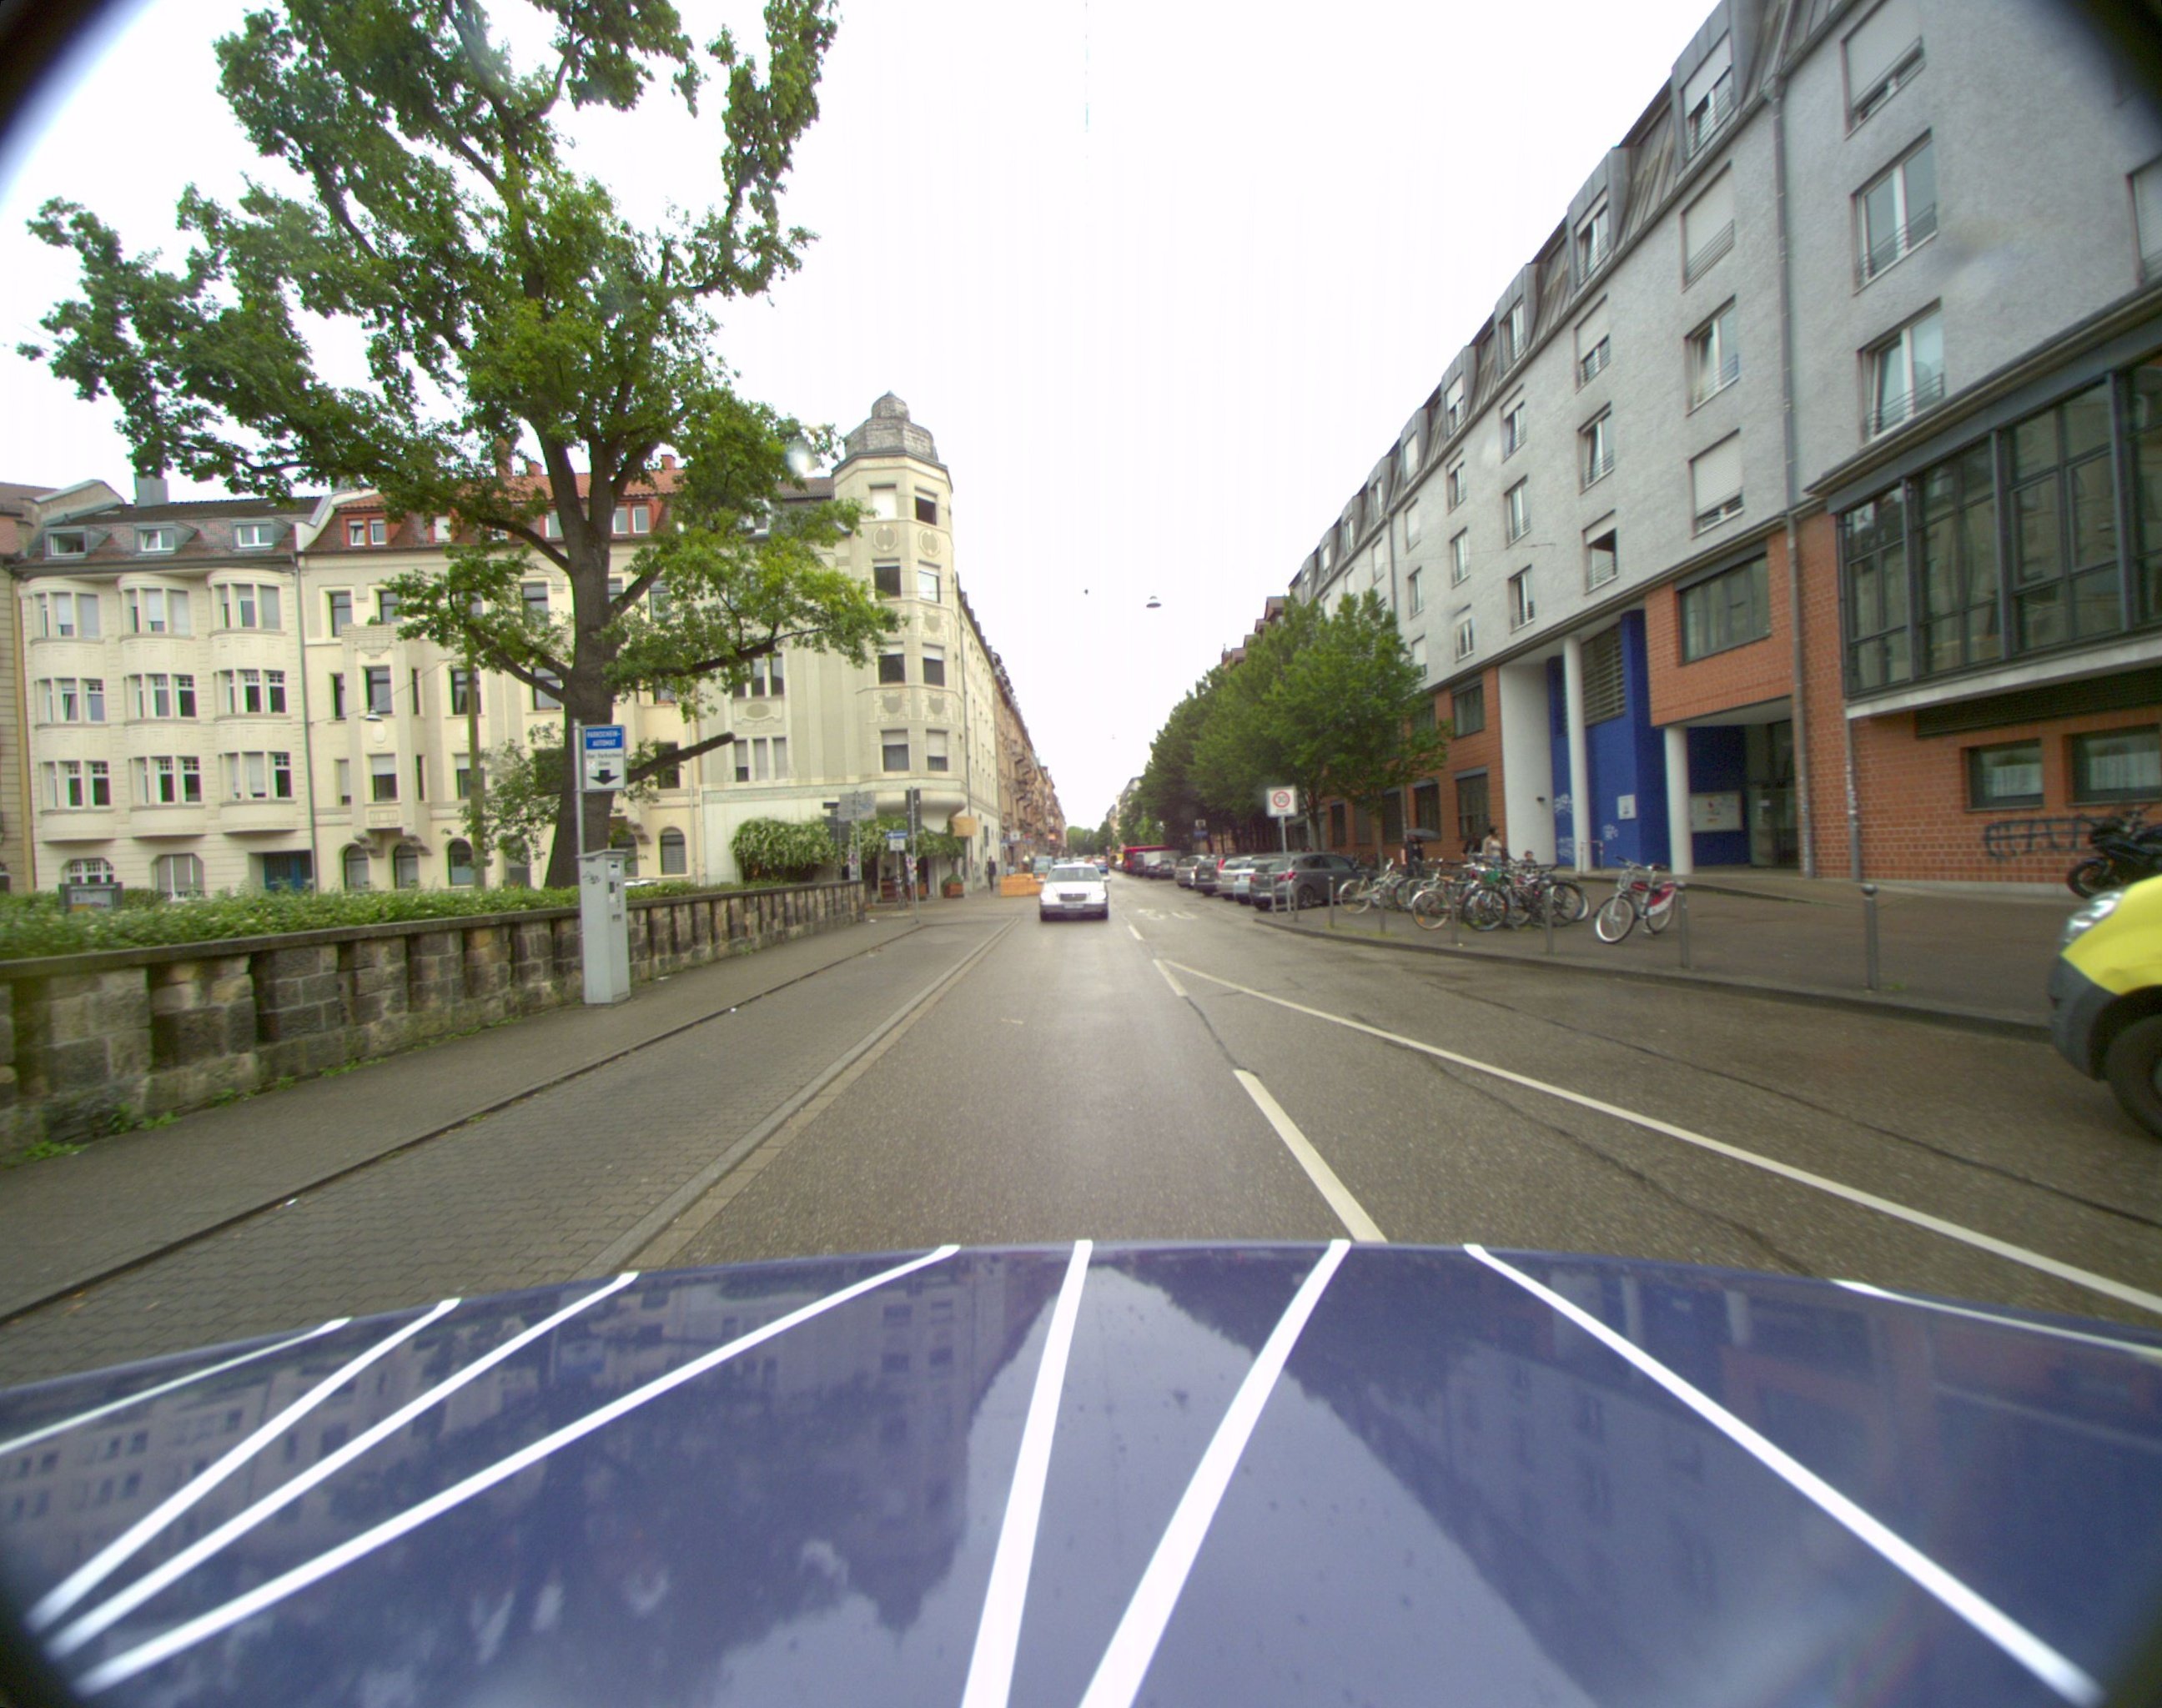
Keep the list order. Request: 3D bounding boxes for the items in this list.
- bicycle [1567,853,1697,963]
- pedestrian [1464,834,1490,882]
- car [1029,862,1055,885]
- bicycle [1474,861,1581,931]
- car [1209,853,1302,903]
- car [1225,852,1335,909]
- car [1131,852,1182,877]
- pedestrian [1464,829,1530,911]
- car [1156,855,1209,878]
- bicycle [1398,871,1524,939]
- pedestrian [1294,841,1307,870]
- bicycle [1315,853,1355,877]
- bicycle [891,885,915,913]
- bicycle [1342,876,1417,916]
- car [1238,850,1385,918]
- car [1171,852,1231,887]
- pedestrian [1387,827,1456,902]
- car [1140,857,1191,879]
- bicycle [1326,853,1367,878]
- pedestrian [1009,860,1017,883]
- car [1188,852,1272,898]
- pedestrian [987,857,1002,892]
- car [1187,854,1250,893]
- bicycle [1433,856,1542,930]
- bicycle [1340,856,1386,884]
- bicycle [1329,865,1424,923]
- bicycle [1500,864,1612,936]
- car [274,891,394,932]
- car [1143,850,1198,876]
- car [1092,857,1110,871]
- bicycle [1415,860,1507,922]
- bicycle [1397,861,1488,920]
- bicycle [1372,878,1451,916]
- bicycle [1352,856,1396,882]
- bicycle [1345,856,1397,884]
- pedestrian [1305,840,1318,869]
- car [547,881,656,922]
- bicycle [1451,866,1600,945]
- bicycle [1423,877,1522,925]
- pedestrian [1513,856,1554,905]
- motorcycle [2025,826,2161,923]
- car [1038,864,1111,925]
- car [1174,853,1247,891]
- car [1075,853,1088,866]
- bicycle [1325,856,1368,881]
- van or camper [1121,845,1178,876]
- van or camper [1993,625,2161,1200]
[{"bbox_3d":[7.486,0.680,10.291,1.922,1.209,0.768,-6,3,-34],"label":"bicycle"},{"bbox_3d":[12.846,0.122,24.641,0.515,1.521,0.548,-2,0,-2],"label":"pedestrian"},{"bbox_3d":[-2.437,1.218,48.166,1.447,1.348,3.204,-2,0,1],"label":"car"},{"bbox_3d":[7.656,0.724,13.082,1.461,1.096,0.462,-4,1,15],"label":"bicycle"},{"bbox_3d":[6.005,0.807,26.019,3.084,1.494,1.449,-3,0,-39],"label":"car"},{"bbox_3d":[6.151,0.786,23.407,3.083,1.494,1.449,-3,0,-30],"label":"car"},{"bbox_3d":[6.199,0.845,62.105,4.338,1.822,1.572,-2,0,-40],"label":"car"},{"bbox_3d":[9.311,0.356,17.046,0.827,1.697,0.859,-7,0,2],"label":"pedestrian"},{"bbox_3d":[6.965,0.836,51.828,1.685,1.481,3.799,-2,0,41],"label":"car"},{"bbox_3d":[6.307,0.837,12.663,1.800,0.987,0.520,-4,1,-1],"label":"bicycle"},{"bbox_3d":[12.390,0.087,42.890,0.605,1.601,0.372,-2,0,0],"label":"pedestrian"},{"bbox_3d":[11.080,0.467,33.151,1.590,0.978,0.465,-2,0,-7],"label":"bicycle"},{"bbox_3d":[-6.843,1.722,29.310,0.390,0.888,2.023,-2,2,1],"label":"bicycle"},{"bbox_3d":[6.829,0.961,17.419,1.473,0.800,0.497,-4,1,4],"label":"bicycle"},{"bbox_3d":[6.227,0.757,20.478,3.628,1.494,1.736,-3,1,-30],"label":"car"},{"bbox_3d":[5.925,0.775,37.406,2.685,1.546,1.148,-3,0,-28],"label":"car"},{"bbox_3d":[9.380,0.285,21.002,1.228,1.870,1.055,-7,0,0],"label":"pedestrian"},{"bbox_3d":[6.072,0.995,54.360,1.685,1.481,3.799,-2,0,41],"label":"car"},{"bbox_3d":[11.177,0.473,31.984,1.590,0.978,0.445,-2,0,-7],"label":"bicycle"},{"bbox_3d":[-4.444,1.134,49.702,0.482,1.452,0.392,-2,0,0],"label":"pedestrian"},{"bbox_3d":[5.692,0.794,28.909,3.084,1.543,1.449,-3,0,-39],"label":"car"},{"bbox_3d":[-4.661,1.111,41.037,0.646,1.862,0.693,-2,0,0],"label":"pedestrian"},{"bbox_3d":[5.818,0.817,32.141,2.506,1.442,1.191,-3,0,-39],"label":"car"},{"bbox_3d":[7.454,0.697,13.946,1.815,1.187,0.520,-4,1,-12],"label":"bicycle"},{"bbox_3d":[10.934,0.616,29.452,1.590,0.978,0.445,-2,0,-7],"label":"bicycle"},{"bbox_3d":[6.331,0.841,16.307,1.812,1.099,0.472,-4,1,-4],"label":"bicycle"},{"bbox_3d":[7.676,0.743,12.309,1.462,1.058,0.418,-4,1,5],"label":"bicycle"},{"bbox_3d":[-28.858,2.197,29.400,3.270,1.401,1.448,-2,0,4],"label":"car"},{"bbox_3d":[6.938,0.700,58.590,4.338,1.884,1.685,-2,0,-40],"label":"car"},{"bbox_3d":[1.981,1.010,75.976,1.651,1.301,3.311,-2,0,-2],"label":"car"},{"bbox_3d":[7.596,0.729,15.191,1.611,1.099,0.520,-4,1,-12],"label":"bicycle"},{"bbox_3d":[7.519,0.754,15.845,1.610,1.099,0.520,-4,1,-4],"label":"bicycle"},{"bbox_3d":[7.291,0.948,16.784,1.473,0.717,0.497,-4,1,4],"label":"bicycle"},{"bbox_3d":[11.567,0.592,29.986,1.590,0.978,0.445,-2,0,-7],"label":"bicycle"},{"bbox_3d":[11.055,0.615,28.976,1.850,0.978,0.445,-2,0,-7],"label":"bicycle"},{"bbox_3d":[12.990,0.011,42.814,0.514,1.601,0.425,-2,0,2],"label":"pedestrian"},{"bbox_3d":[-18.325,1.820,29.120,3.270,1.401,1.448,-2,0,4],"label":"car"},{"bbox_3d":[6.872,0.792,11.817,1.857,1.066,0.610,-4,1,6],"label":"bicycle"},{"bbox_3d":[7.492,0.893,14.537,1.773,0.757,0.456,-4,1,-12],"label":"bicycle"},{"bbox_3d":[10.234,0.600,17.195,0.485,1.044,0.528,-7,0,0],"label":"pedestrian"},{"bbox_3d":[13.389,0.236,9.298,0.838,1.150,2.273,-4,0,2],"label":"motorcycle"},{"bbox_3d":[-0.132,1.031,20.839,1.764,1.420,4.000,-2,0,1],"label":"car"},{"bbox_3d":[5.909,0.817,34.648,2.985,1.546,1.370,-3,0,-28],"label":"car"},{"bbox_3d":[0.127,0.945,125.349,1.998,2.002,4.000,-2,0,2],"label":"car"},{"bbox_3d":[10.959,0.597,31.367,1.590,0.978,0.445,-2,0,-7],"label":"bicycle"},{"bbox_3d":[6.139,0.555,68.044,4.603,2.597,2.000,-2,0,-26],"label":"van or camper"},{"bbox_3d":[5.993,0.228,1.071,2.201,2.595,5.942,-2,0,-1],"label":"van or camper"}]
